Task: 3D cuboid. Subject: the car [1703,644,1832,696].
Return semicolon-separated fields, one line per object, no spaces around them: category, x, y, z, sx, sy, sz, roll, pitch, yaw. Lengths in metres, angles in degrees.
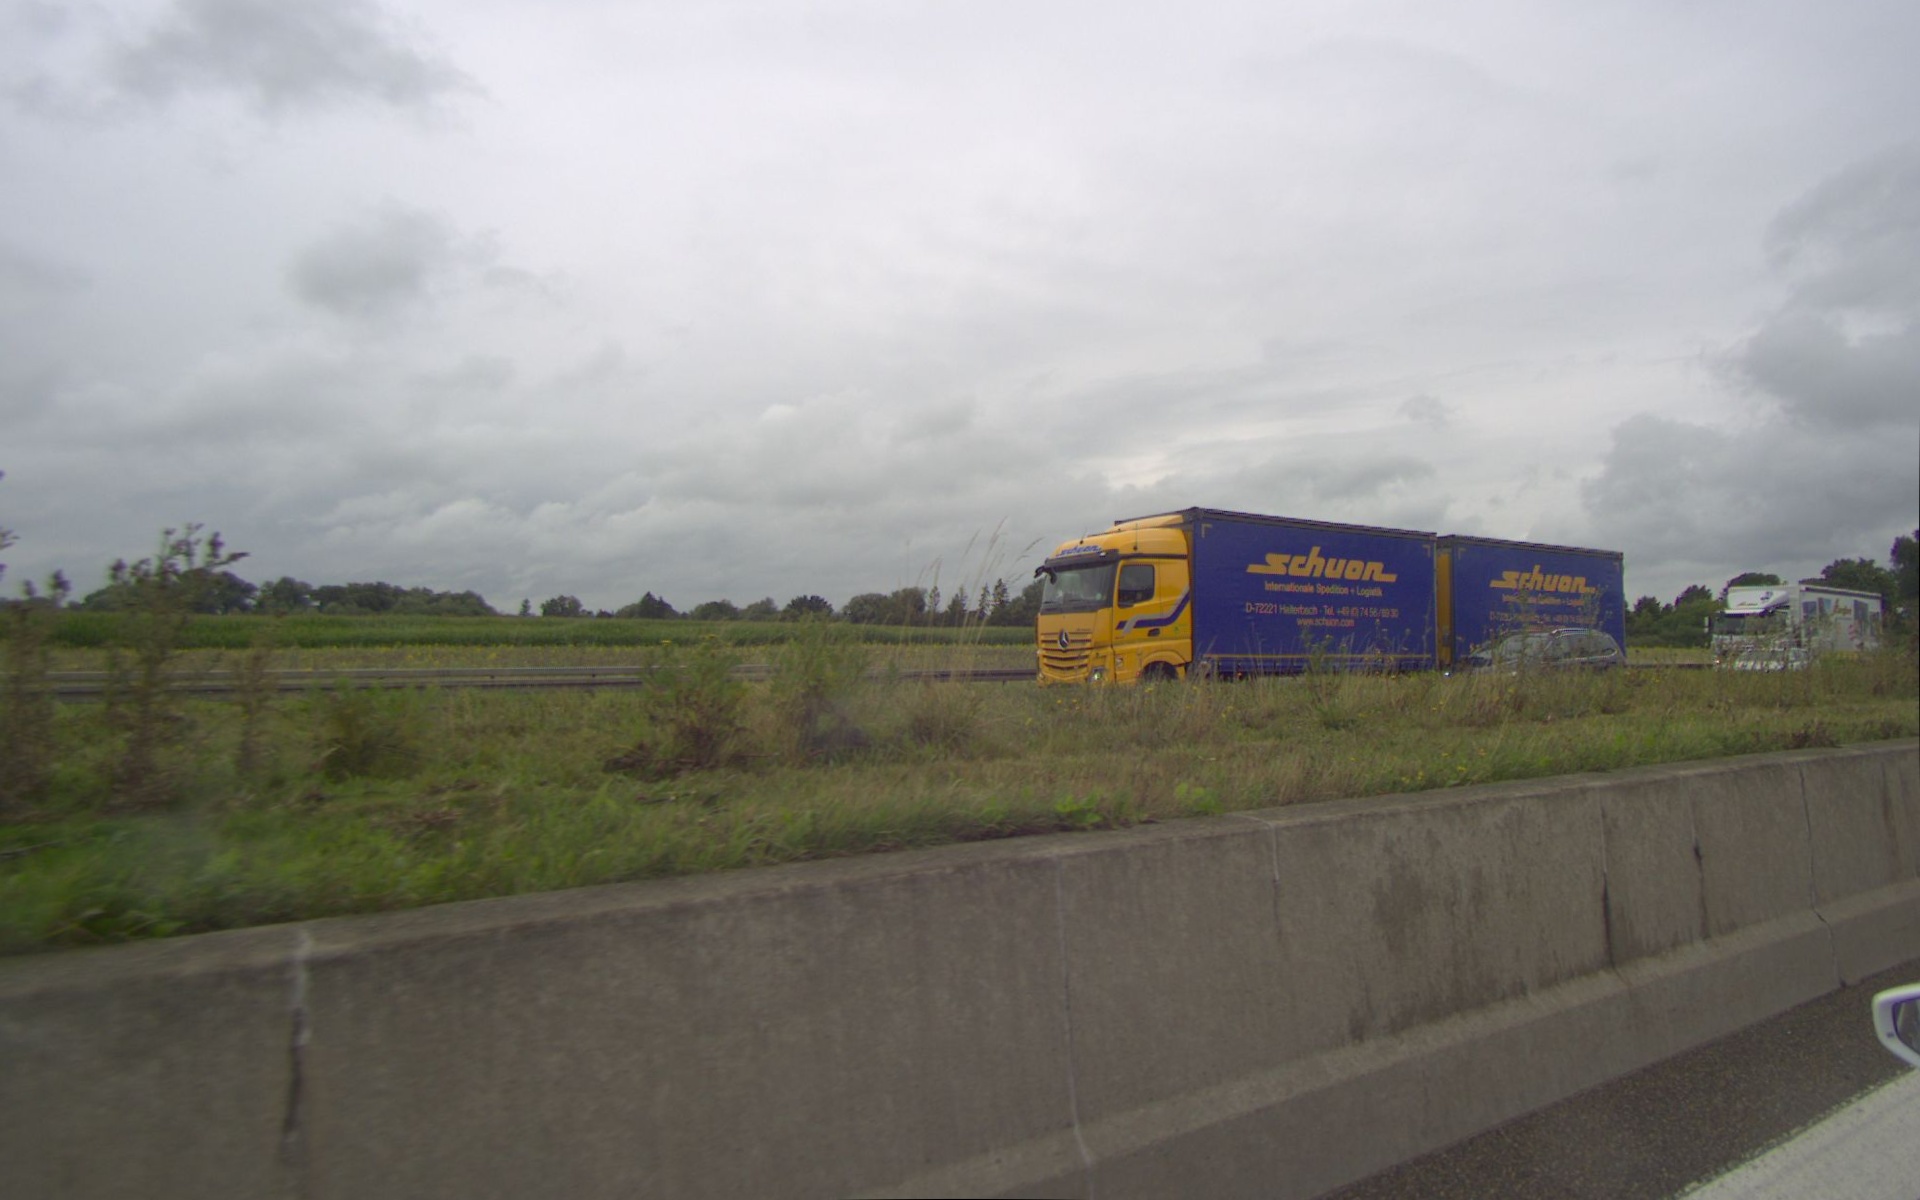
car;27.784;2.352;34.524;4.956;1.637;1.873;2;-2;-31

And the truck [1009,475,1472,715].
truck;6.639;0.071;22.713;10.862;4.421;3.396;2;0;-30

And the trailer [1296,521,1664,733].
trailer;14.468;0.742;27.398;11.549;4.832;3.369;2;0;-31

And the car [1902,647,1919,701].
car;33.086;2.450;33.217;3.952;1.730;1.746;2;-2;-30

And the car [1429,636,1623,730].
car;12.029;1.696;21.317;3.953;1.808;1.858;2;-2;-30

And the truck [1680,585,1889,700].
truck;36.501;1.843;44.258;11.656;4.543;3.493;2;0;-32
